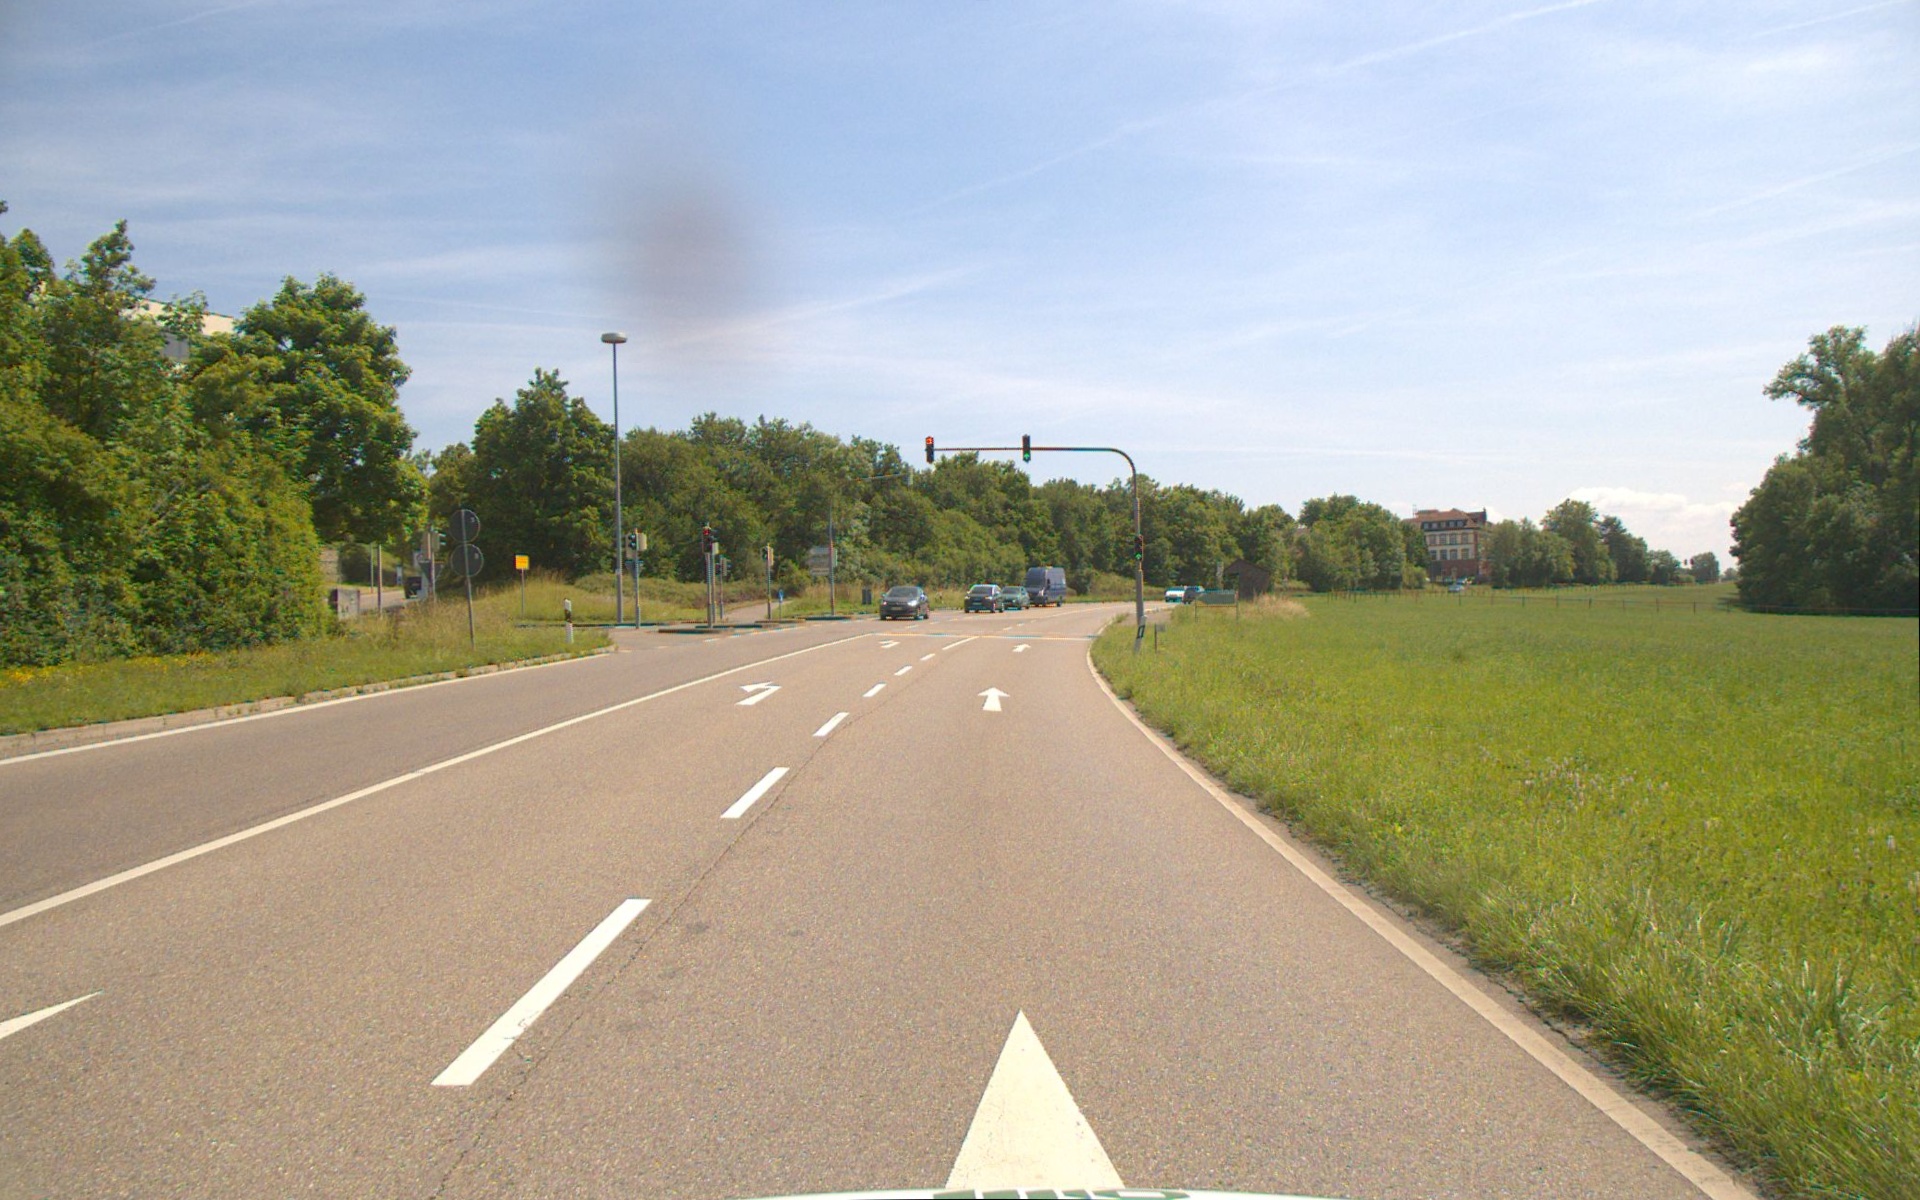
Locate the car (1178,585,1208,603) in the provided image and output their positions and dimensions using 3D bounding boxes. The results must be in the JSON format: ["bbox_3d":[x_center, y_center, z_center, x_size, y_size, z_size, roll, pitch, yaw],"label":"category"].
[{"bbox_3d":[20.861,-0.529,147.971,1.952,1.601,4.002,0,0,18],"label":"car"}]

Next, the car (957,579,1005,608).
[{"bbox_3d":[1.221,-0.360,94.051,1.932,1.589,4.192,0,0,13],"label":"car"}]

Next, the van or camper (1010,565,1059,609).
[{"bbox_3d":[5.442,-0.991,119.094,2.192,2.964,7.254,0,2,13],"label":"van or camper"}]

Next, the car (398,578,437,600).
[{"bbox_3d":[-39.314,-0.801,119.922,1.956,1.579,3.993,0,0,-8],"label":"car"}]

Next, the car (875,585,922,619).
[{"bbox_3d":[-2.721,0.076,74.275,1.754,1.500,4.312,0,0,3],"label":"car"}]

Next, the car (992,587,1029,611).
[{"bbox_3d":[3.289,-0.091,106.966,1.670,1.509,3.835,0,0,13],"label":"car"}]

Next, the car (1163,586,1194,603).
[{"bbox_3d":[21.388,-0.545,161.936,1.898,1.575,4.626,0,0,22],"label":"car"}]
